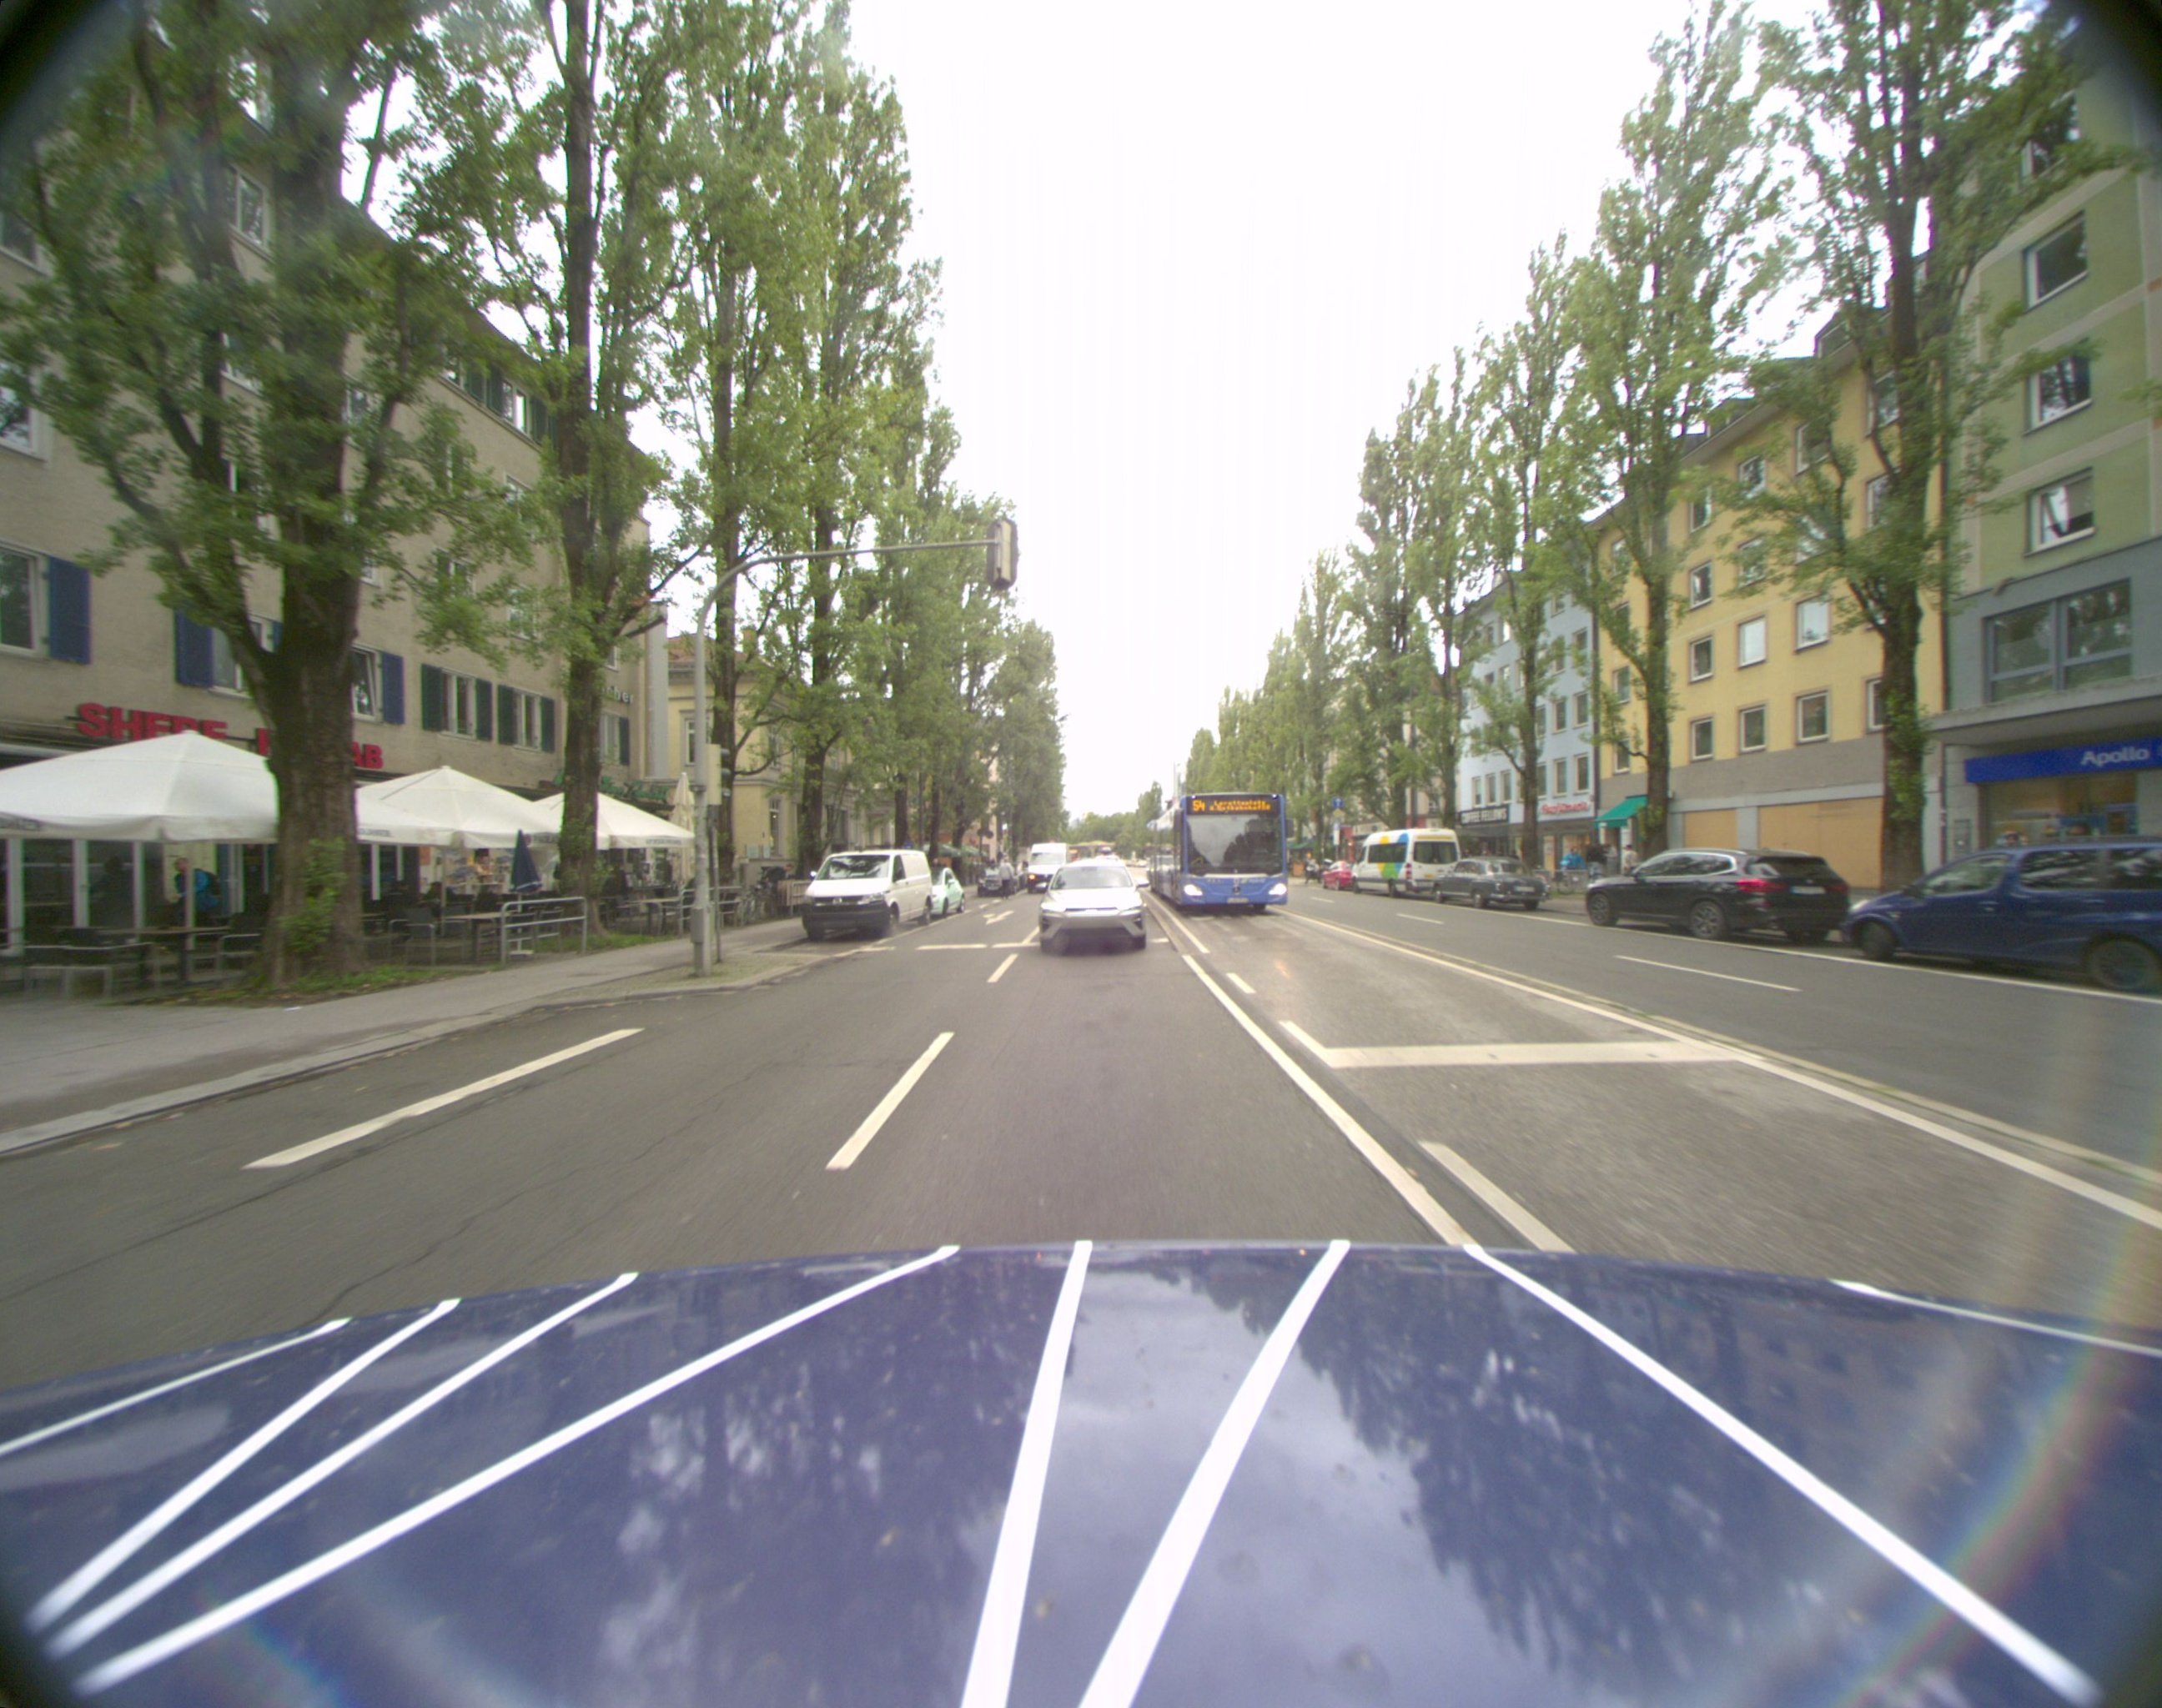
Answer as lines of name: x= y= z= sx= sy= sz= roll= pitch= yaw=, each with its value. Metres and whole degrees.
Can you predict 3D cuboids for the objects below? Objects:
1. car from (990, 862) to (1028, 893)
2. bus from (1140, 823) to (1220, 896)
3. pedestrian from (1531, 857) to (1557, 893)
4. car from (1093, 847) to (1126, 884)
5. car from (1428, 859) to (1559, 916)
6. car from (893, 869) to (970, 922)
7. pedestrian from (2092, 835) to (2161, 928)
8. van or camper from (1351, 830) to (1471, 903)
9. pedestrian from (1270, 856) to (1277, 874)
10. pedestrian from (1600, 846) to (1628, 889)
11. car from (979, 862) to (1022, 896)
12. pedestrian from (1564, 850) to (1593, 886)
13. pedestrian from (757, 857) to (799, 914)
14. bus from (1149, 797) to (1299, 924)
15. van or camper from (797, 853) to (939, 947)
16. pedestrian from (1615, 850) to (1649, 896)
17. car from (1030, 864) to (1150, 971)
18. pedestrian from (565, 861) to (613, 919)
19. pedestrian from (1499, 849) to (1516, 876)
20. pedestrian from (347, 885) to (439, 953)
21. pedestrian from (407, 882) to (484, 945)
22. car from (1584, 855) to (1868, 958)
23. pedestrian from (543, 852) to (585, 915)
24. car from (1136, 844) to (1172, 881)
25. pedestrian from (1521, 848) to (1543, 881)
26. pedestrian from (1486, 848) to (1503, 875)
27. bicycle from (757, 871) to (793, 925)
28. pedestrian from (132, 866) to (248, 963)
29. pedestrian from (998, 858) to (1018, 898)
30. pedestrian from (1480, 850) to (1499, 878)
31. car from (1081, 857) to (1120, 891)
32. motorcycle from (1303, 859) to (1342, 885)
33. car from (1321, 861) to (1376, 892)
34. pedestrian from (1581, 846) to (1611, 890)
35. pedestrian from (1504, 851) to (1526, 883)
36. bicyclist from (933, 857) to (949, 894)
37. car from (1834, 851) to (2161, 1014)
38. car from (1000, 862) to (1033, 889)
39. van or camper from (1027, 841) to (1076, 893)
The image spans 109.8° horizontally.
car: x=-3.776 y=1.220 z=40.523 sx=1.475 sy=1.518 sz=3.603 roll=-1 pitch=0 yaw=3
bus: x=4.445 y=0.253 z=36.769 sx=2.805 sy=2.886 sz=12.860 roll=-1 pitch=0 yaw=3
pedestrian: x=18.872 y=0.851 z=30.984 sx=0.610 sy=1.430 sz=0.677 roll=-1 pitch=0 yaw=-16
car: x=1.870 y=0.727 z=50.304 sx=2.024 sy=2.235 sz=4.411 roll=-2 pitch=0 yaw=2
car: x=12.400 y=0.933 z=23.169 sx=1.707 sy=1.520 sz=4.261 roll=0 pitch=0 yaw=1
car: x=-4.446 y=1.201 z=23.067 sx=1.475 sy=1.388 sz=3.484 roll=-1 pitch=0 yaw=3
pedestrian: x=19.189 y=0.481 z=13.789 sx=0.723 sy=1.641 sz=0.712 roll=-1 pitch=0 yaw=3
van or camper: x=12.713 y=0.438 z=29.898 sx=2.130 sy=2.536 sz=6.645 roll=-1 pitch=0 yaw=3
pedestrian: x=17.393 y=1.012 z=68.547 sx=0.609 sy=1.580 sz=0.551 roll=0 pitch=0 yaw=13
pedestrian: x=21.583 y=0.535 z=30.763 sx=0.640 sy=1.694 sz=0.724 roll=-1 pitch=0 yaw=2
car: x=-3.828 y=1.161 z=36.584 sx=1.475 sy=1.518 sz=3.603 roll=-1 pitch=0 yaw=3
pedestrian: x=19.725 y=0.556 z=30.120 sx=0.768 sy=1.430 sz=0.551 roll=-1 pitch=0 yaw=-2
pedestrian: x=-9.643 y=0.984 z=24.181 sx=0.941 sy=1.756 sz=0.837 roll=-2 pitch=0 yaw=40
bus: x=3.869 y=0.175 z=23.934 sx=2.805 sy=2.886 sz=12.860 roll=-1 pitch=0 yaw=2
van or camper: x=-4.829 y=0.959 z=17.954 sx=1.795 sy=1.894 sz=4.567 roll=-1 pitch=0 yaw=3
pedestrian: x=20.233 y=0.688 z=27.898 sx=0.723 sy=1.641 sz=0.712 roll=-1 pitch=0 yaw=3
car: x=0.197 y=0.964 z=13.154 sx=1.758 sy=1.529 sz=3.917 roll=-1 pitch=0 yaw=2
pedestrian: x=-13.671 y=0.990 z=21.114 sx=0.696 sy=1.568 sz=0.874 roll=-2 pitch=0 yaw=3
pedestrian: x=22.956 y=0.444 z=40.899 sx=0.609 sy=1.430 sz=0.551 roll=-1 pitch=0 yaw=-2
pedestrian: x=-13.194 y=1.222 z=14.610 sx=0.775 sy=1.209 sz=1.024 roll=-2 pitch=0 yaw=6
pedestrian: x=-13.138 y=1.217 z=15.742 sx=0.667 sy=1.209 sz=1.024 roll=-2 pitch=0 yaw=6
car: x=11.900 y=0.850 z=14.529 sx=1.707 sy=1.623 sz=4.504 roll=0 pitch=0 yaw=2
pedestrian: x=-14.373 y=0.821 z=21.140 sx=0.629 sy=1.709 sz=0.681 roll=-2 pitch=0 yaw=3
car: x=4.800 y=0.554 z=50.347 sx=2.024 sy=2.235 sz=4.411 roll=-2 pitch=0 yaw=2
pedestrian: x=22.945 y=0.522 z=38.674 sx=0.723 sy=1.641 sz=0.706 roll=-1 pitch=0 yaw=3
pedestrian: x=22.274 y=0.420 z=40.953 sx=0.609 sy=1.430 sz=0.551 roll=-1 pitch=0 yaw=1
bicycle: x=-8.754 y=1.210 z=21.671 sx=0.829 sy=1.403 sz=2.595 roll=-2 pitch=0 yaw=-23
pedestrian: x=-15.466 y=1.024 z=13.217 sx=0.764 sy=1.594 sz=1.016 roll=-2 pitch=0 yaw=3
pedestrian: x=-3.201 y=1.043 z=33.357 sx=0.791 sy=1.747 sz=0.769 roll=-1 pitch=0 yaw=-8
pedestrian: x=20.672 y=0.495 z=38.486 sx=0.649 sy=1.430 sz=0.551 roll=-1 pitch=0 yaw=-2
car: x=0.962 y=0.949 z=37.201 sx=1.758 sy=1.529 sz=3.917 roll=-2 pitch=0 yaw=2
motorcycle: x=13.780 y=1.029 z=43.322 sx=2.023 sy=1.413 sz=0.570 roll=-1 pitch=0 yaw=-5
car: x=12.961 y=1.041 z=37.040 sx=1.559 sy=1.403 sz=3.762 roll=-1 pitch=0 yaw=3
pedestrian: x=20.847 y=0.560 z=30.763 sx=0.732 sy=1.755 sz=0.724 roll=-1 pitch=0 yaw=1
pedestrian: x=22.119 y=0.659 z=38.729 sx=0.723 sy=1.641 sz=0.678 roll=-1 pitch=0 yaw=3
bicyclist: x=-6.391 y=0.967 z=34.655 sx=0.584 sy=1.668 sz=0.819 roll=-1 pitch=0 yaw=-1
car: x=11.966 y=0.823 z=9.342 sx=1.621 sy=1.677 sz=3.771 roll=1 pitch=0 yaw=0
car: x=-3.805 y=1.271 z=45.339 sx=1.475 sy=1.518 sz=3.603 roll=-1 pitch=0 yaw=3
van or camper: x=-1.454 y=0.640 z=40.283 sx=1.998 sy=2.470 sz=6.645 roll=-1 pitch=0 yaw=3
